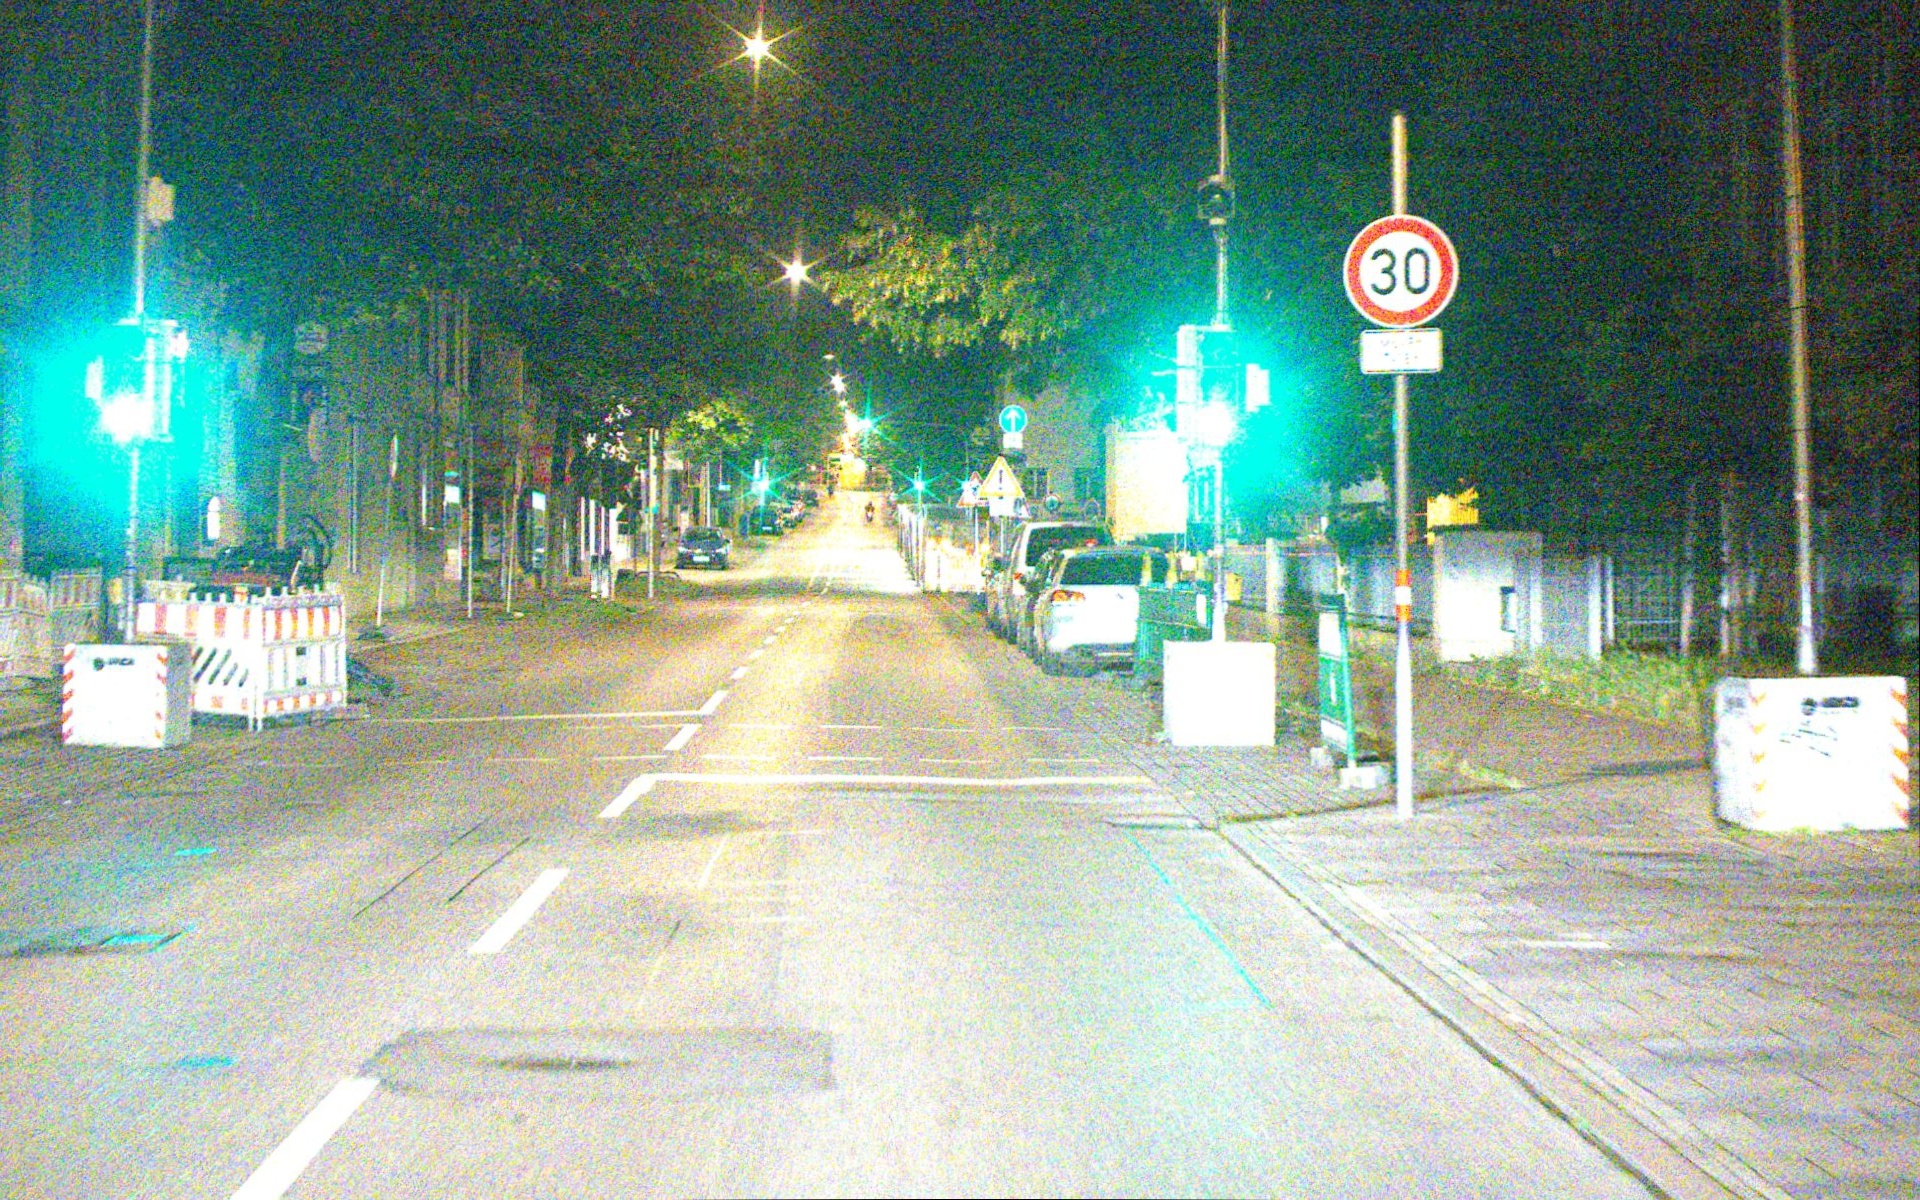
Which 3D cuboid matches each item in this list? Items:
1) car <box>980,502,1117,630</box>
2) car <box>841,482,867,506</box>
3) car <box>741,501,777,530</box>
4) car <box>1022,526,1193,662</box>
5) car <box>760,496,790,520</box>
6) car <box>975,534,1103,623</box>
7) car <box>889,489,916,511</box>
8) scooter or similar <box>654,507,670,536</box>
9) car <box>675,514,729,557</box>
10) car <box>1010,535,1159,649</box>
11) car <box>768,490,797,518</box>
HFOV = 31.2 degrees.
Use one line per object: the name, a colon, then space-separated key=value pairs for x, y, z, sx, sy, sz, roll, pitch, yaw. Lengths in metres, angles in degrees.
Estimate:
car: x=1.300 y=-0.545 z=52.126 sx=1.735 sy=1.848 sz=4.317 roll=0 pitch=1 yaw=-3
car: x=-7.832 y=-7.844 z=254.230 sx=1.873 sy=1.808 sz=4.205 roll=1 pitch=2 yaw=-1
car: x=-11.164 y=-4.707 z=191.086 sx=1.873 sy=1.539 sz=4.205 roll=1 pitch=2 yaw=-2
car: x=1.705 y=-0.111 z=40.926 sx=1.739 sy=1.472 sz=4.000 roll=-2 pitch=1 yaw=-1
car: x=-12.260 y=-6.115 z=228.471 sx=1.873 sy=1.539 sz=4.205 roll=1 pitch=2 yaw=-2
car: x=1.273 y=-0.385 z=57.136 sx=1.727 sy=1.414 sz=4.324 roll=0 pitch=1 yaw=-4
car: x=-4.053 y=-7.051 z=241.565 sx=1.873 sy=1.539 sz=4.205 roll=1 pitch=2 yaw=-2
scooter or similar: x=-12.560 y=-3.305 z=144.849 sx=0.528 sy=1.161 sz=2.507 roll=-1 pitch=0 yaw=-2
car: x=-8.911 y=-2.248 z=119.080 sx=1.671 sy=1.438 sz=4.205 roll=1 pitch=2 yaw=-2
car: x=1.612 y=-0.138 z=45.780 sx=1.686 sy=1.416 sz=4.444 roll=0 pitch=1 yaw=-2
car: x=-12.098 y=-6.543 z=234.387 sx=1.873 sy=1.808 sz=4.205 roll=1 pitch=2 yaw=-2
